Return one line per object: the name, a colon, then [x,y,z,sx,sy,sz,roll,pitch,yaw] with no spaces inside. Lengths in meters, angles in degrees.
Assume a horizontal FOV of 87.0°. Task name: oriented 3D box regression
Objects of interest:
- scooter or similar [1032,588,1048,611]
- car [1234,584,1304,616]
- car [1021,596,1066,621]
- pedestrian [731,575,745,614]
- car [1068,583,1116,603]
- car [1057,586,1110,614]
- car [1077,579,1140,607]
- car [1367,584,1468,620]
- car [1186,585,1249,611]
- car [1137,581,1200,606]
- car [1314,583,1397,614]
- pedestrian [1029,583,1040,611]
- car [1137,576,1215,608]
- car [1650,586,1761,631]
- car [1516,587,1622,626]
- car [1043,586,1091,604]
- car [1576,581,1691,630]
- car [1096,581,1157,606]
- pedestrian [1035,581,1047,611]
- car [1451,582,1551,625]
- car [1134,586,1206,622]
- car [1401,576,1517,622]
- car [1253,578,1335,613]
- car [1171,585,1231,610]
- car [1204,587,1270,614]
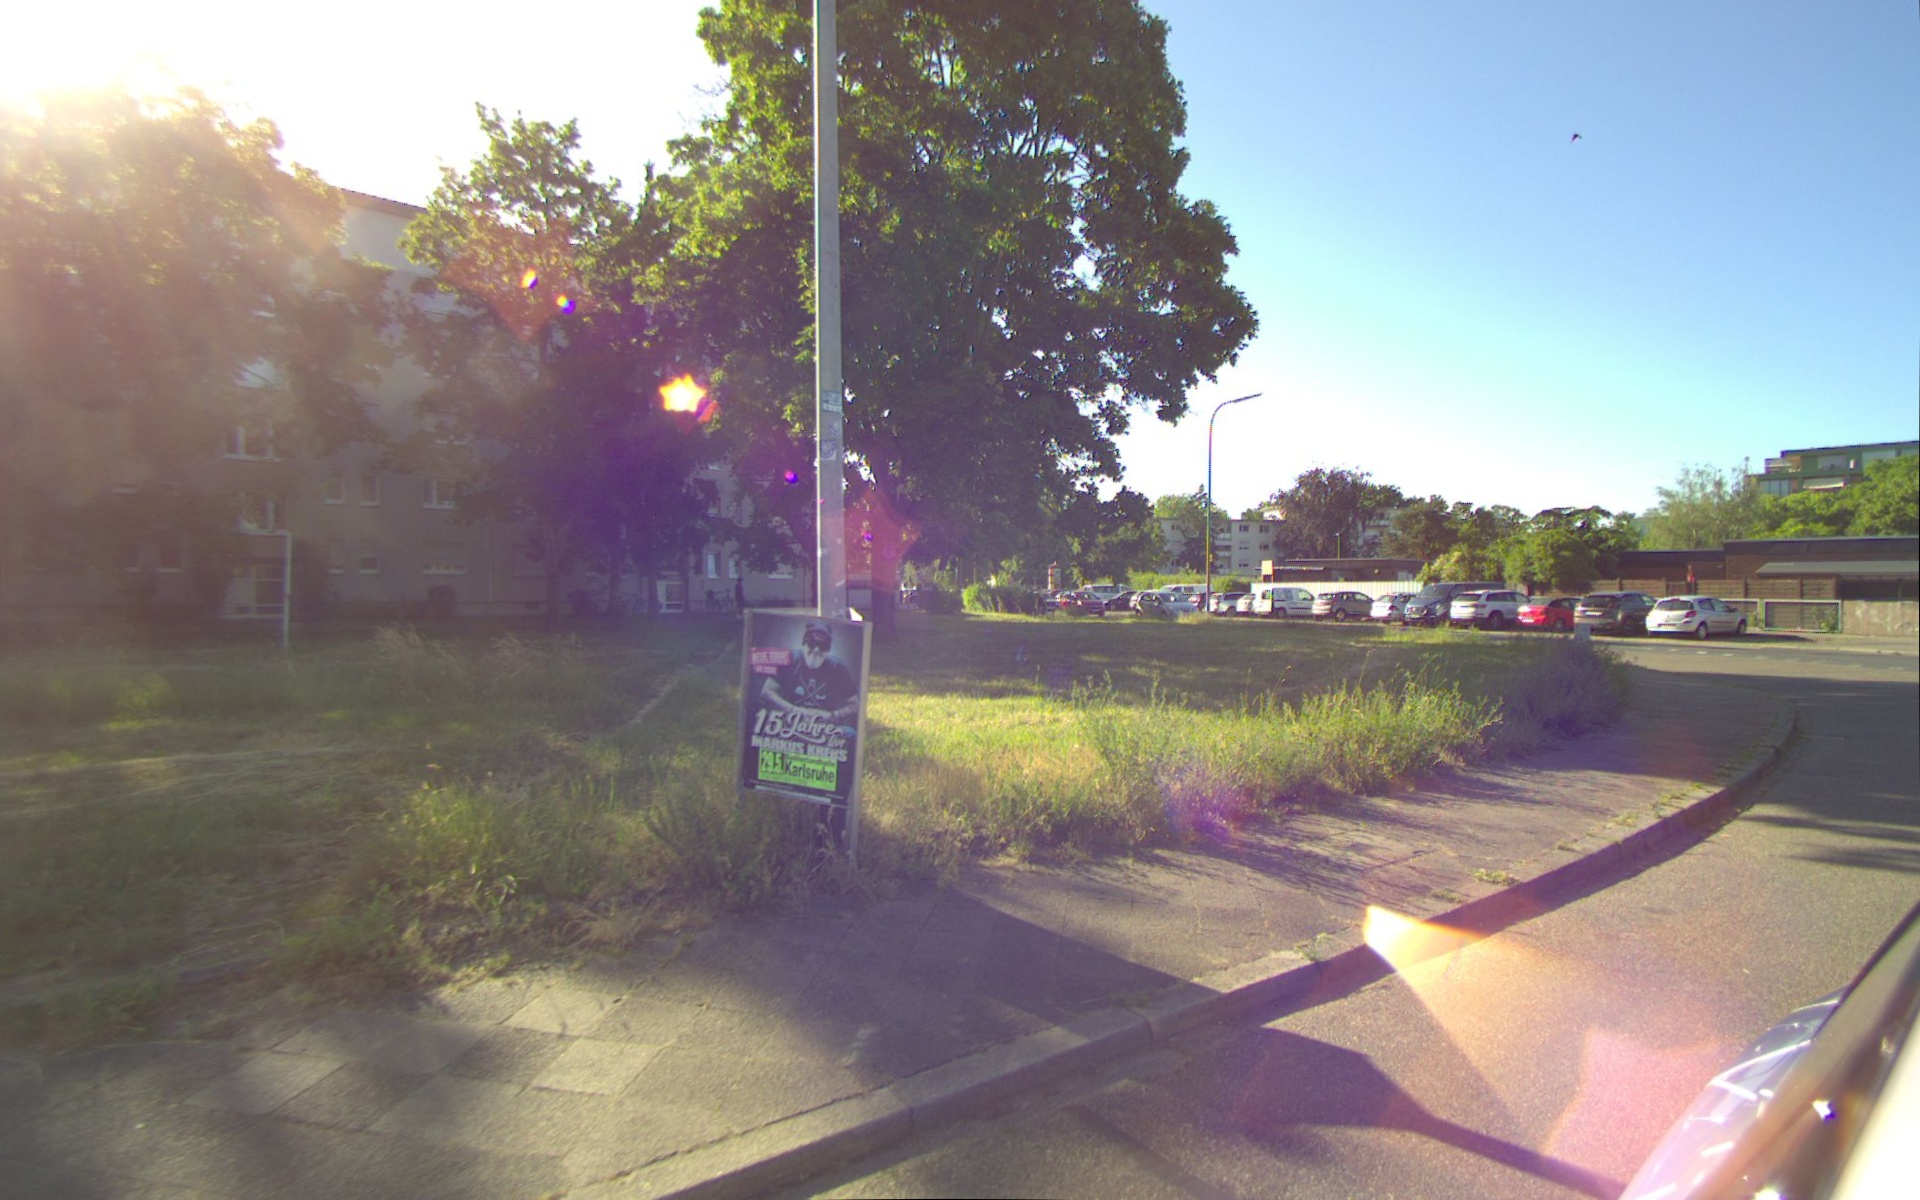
scooter or similar: [4.503,-0.021,56.910,0.611,1.242,0.907,1,1,-16]
car: [17.894,-0.005,58.673,3.452,1.506,1.732,-4,4,-17]
car: [5.333,0.533,65.035,1.618,1.420,3.891,1,1,-15]
pedestrian: [-9.706,-0.241,44.236,0.481,1.683,0.536,-2,1,-5]
car: [11.167,-0.613,85.467,3.539,1.587,1.885,-2,1,-11]
car: [7.027,-0.032,57.959,1.547,1.464,3.797,-1,2,-18]
car: [11.706,-0.564,79.744,4.400,2.001,2.004,-2,2,-12]
car: [21.585,0.050,47.745,4.064,1.511,1.930,-2,2,-17]
car: [16.133,-0.102,63.498,3.451,1.508,1.640,-2,0,-18]
car: [14.764,-0.461,71.655,3.917,1.602,1.888,-2,2,-12]
car: [20.316,-0.101,52.048,3.746,1.551,1.793,-1,1,-21]
pedestrian: [4.072,-0.162,55.263,0.355,1.522,0.502,2,1,-18]
car: [14.632,-0.543,68.590,4.704,1.944,2.086,-2,1,-17]
car: [26.226,0.264,35.586,3.622,1.477,1.637,-1,1,-26]
car: [24.372,0.243,40.512,3.548,1.360,1.737,-2,2,-19]
car: [9.736,-0.463,92.221,3.917,1.498,1.794,-2,1,-11]
car: [25.218,0.153,37.863,3.918,1.632,1.822,-3,2,-25]
car: [12.656,-0.494,77.039,4.080,1.727,1.887,-2,2,-9]
pedestrian: [4.464,-0.220,55.801,0.473,1.584,0.598,2,1,-5]
car: [22.744,0.109,42.549,3.548,1.627,1.737,-2,2,-19]
car: [9.951,0.142,48.285,1.700,1.562,3.797,-1,2,-18]
car: [22.264,-0.077,45.155,4.785,1.939,2.004,-1,1,-22]
car: [18.636,-0.271,56.505,3.907,1.802,1.929,-2,1,-19]
car: [15.765,-0.157,66.232,3.452,1.464,1.640,-2,2,-20]
car: [16.755,0.003,61.231,3.452,1.507,1.640,-2,1,-13]
